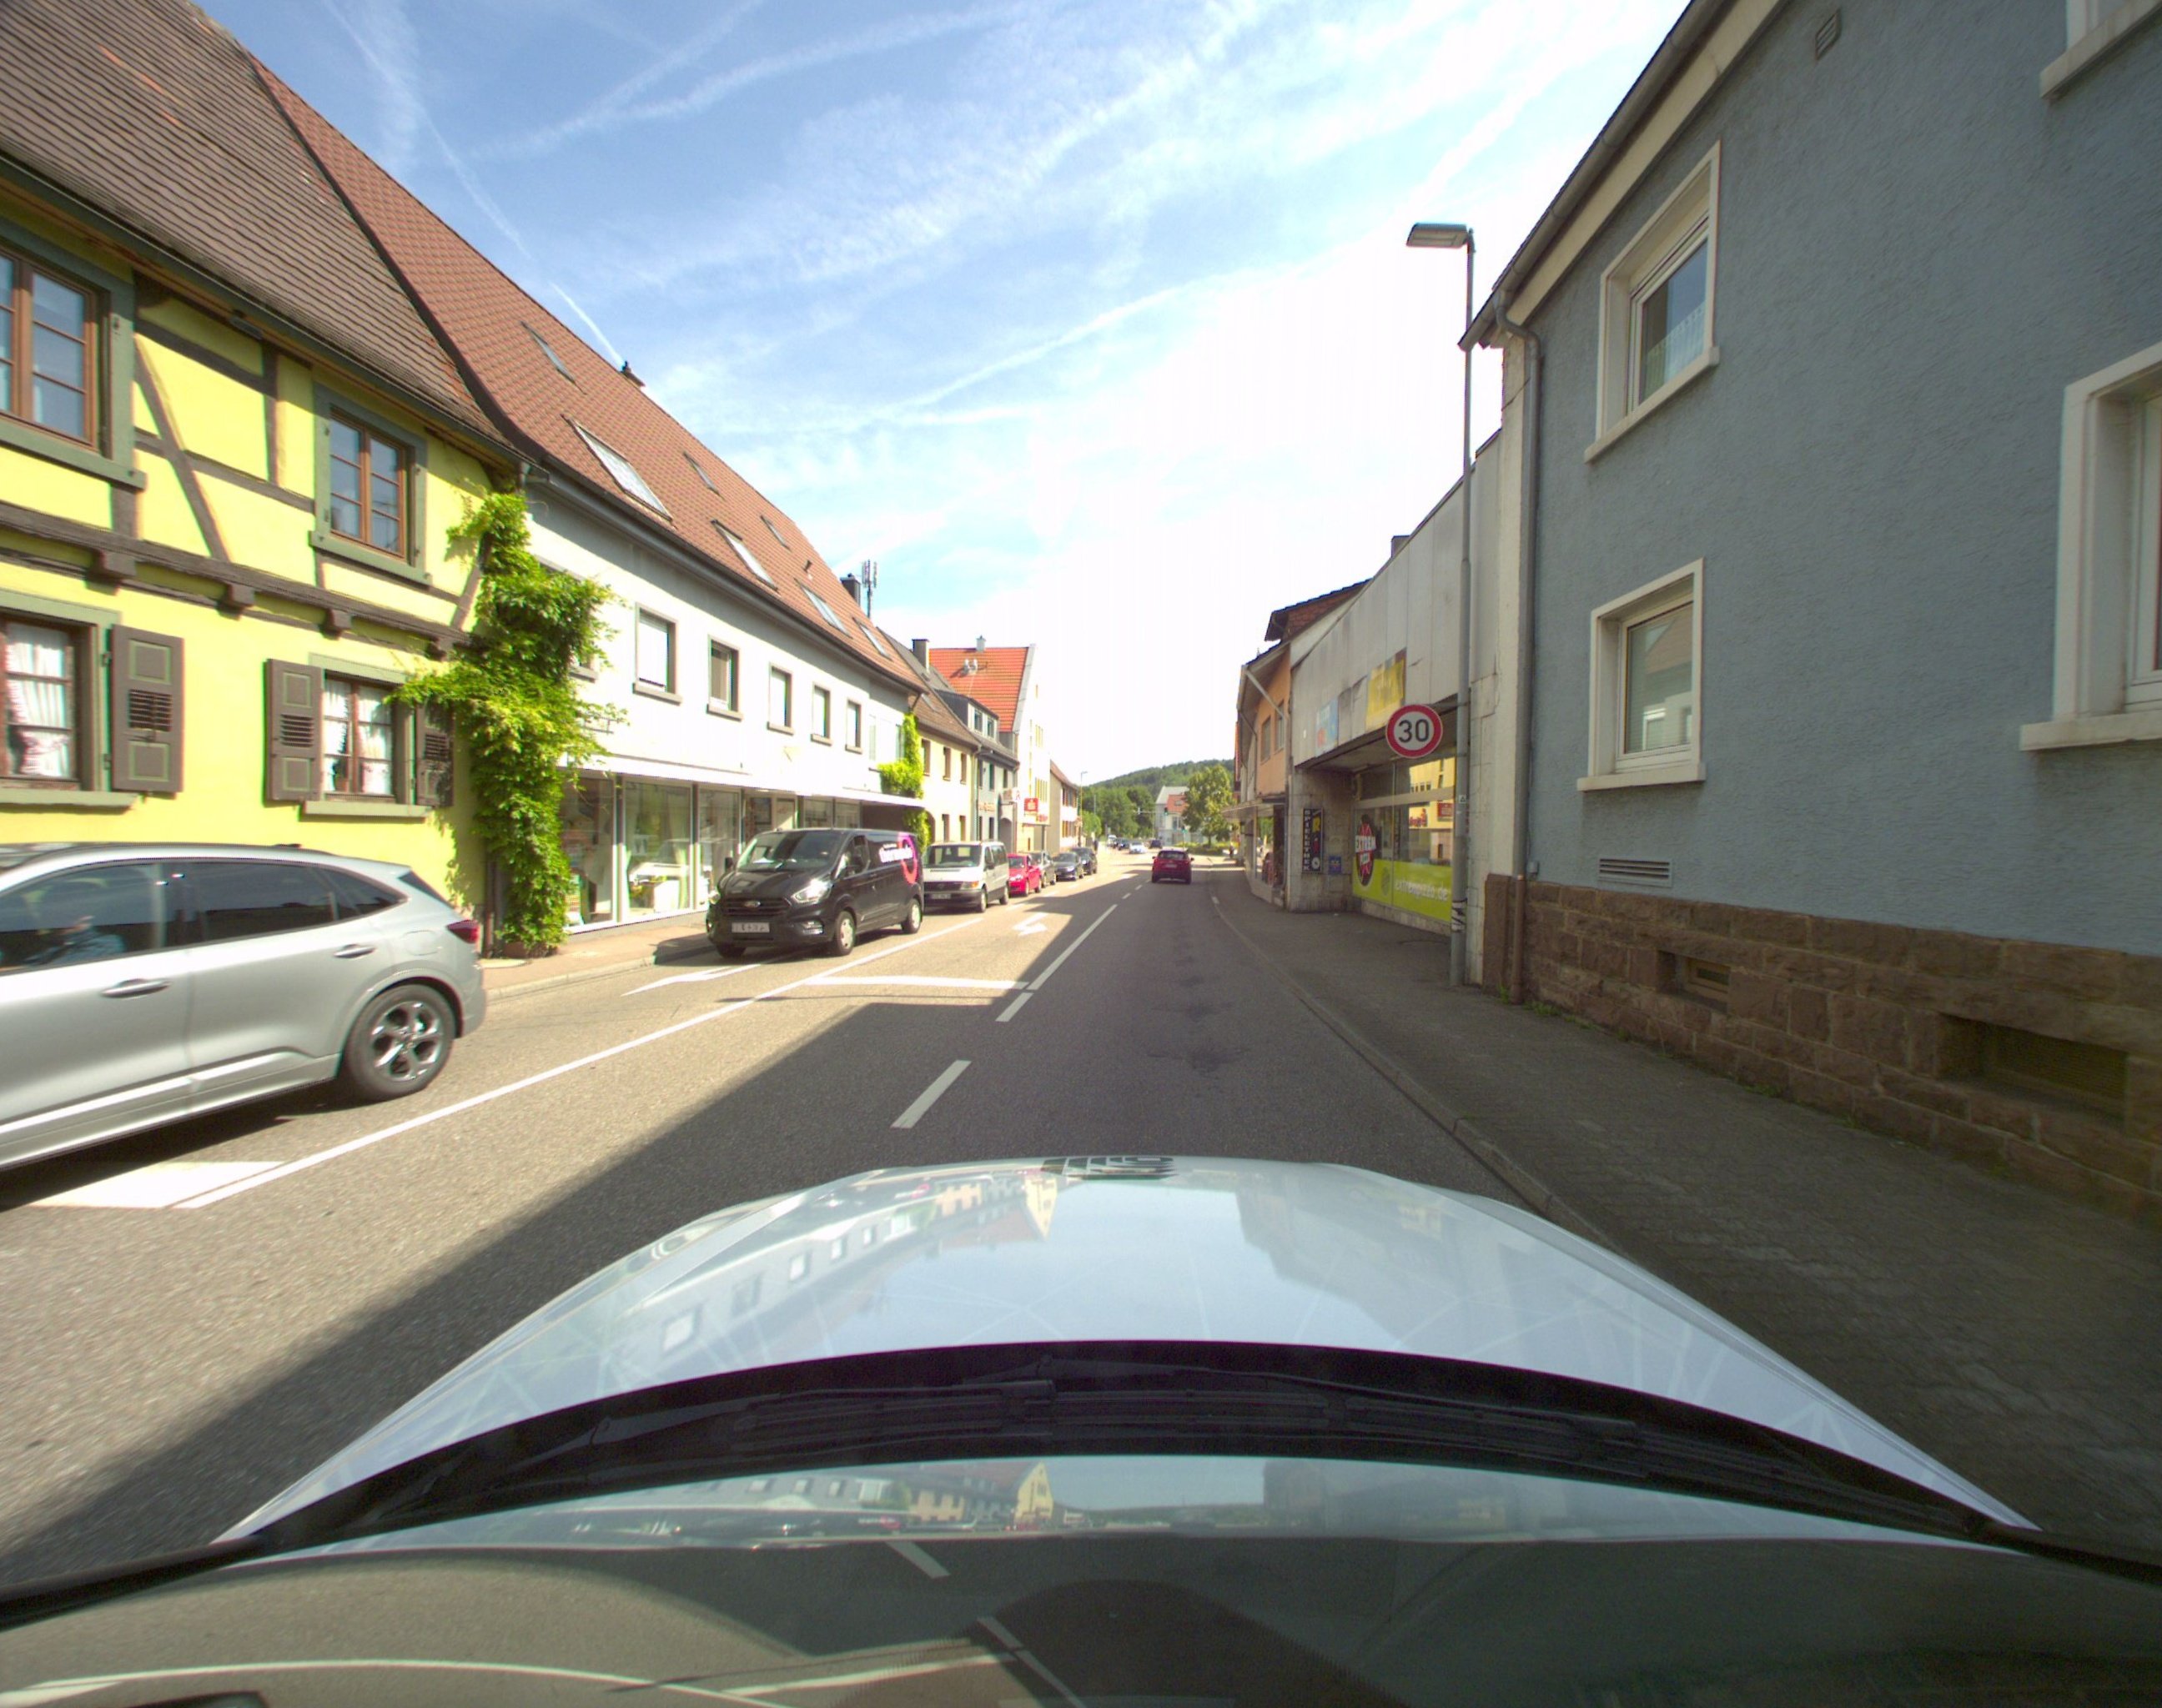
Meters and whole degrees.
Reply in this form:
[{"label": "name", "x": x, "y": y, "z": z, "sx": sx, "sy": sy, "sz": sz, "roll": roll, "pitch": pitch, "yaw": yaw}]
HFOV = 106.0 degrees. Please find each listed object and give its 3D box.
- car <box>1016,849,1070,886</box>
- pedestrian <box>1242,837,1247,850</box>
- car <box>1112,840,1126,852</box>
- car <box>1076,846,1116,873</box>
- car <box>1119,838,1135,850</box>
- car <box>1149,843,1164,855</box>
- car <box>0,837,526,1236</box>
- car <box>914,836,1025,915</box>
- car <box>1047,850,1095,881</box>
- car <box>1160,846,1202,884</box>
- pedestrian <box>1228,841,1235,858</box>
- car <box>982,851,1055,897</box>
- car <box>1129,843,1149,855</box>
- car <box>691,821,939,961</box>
[{"label": "car", "x": -1.591, "y": 0.560, "z": 35.782, "sx": 1.620, "sy": 1.520, "sz": 4.029, "roll": -1, "pitch": 0, "yaw": 8}, {"label": "pedestrian", "x": 23.816, "y": -1.506, "z": 118.508, "sx": 0.639, "sy": 1.879, "sz": 0.653, "roll": 0, "pitch": -1, "yaw": 2}, {"label": "car", "x": 5.928, "y": -1.197, "z": 126.481, "sx": 1.765, "sy": 1.785, "sz": 3.846, "roll": 0, "pitch": -1, "yaw": 7}, {"label": "car", "x": 0.985, "y": 0.311, "z": 49.788, "sx": 1.857, "sy": 1.589, "sz": 4.528, "roll": -1, "pitch": 0, "yaw": 8}, {"label": "car", "x": 6.556, "y": -1.394, "z": 115.128, "sx": 1.828, "sy": 1.532, "sz": 4.264, "roll": 0, "pitch": 2, "yaw": 9}, {"label": "car", "x": 11.516, "y": -0.761, "z": 123.662, "sx": 1.921, "sy": 1.794, "sz": 3.966, "roll": 0, "pitch": -1, "yaw": 9}, {"label": "car", "x": -5.187, "y": 0.742, "z": 3.890, "sx": 1.747, "sy": 1.610, "sz": 4.434, "roll": -1, "pitch": 0, "yaw": 5}, {"label": "car", "x": -2.903, "y": 0.508, "z": 22.199, "sx": 1.873, "sy": 1.890, "sz": 4.560, "roll": -1, "pitch": 0, "yaw": 7}, {"label": "car", "x": -0.460, "y": 0.555, "z": 41.648, "sx": 1.779, "sy": 1.450, "sz": 4.434, "roll": -1, "pitch": 0, "yaw": 8}, {"label": "car", "x": 4.932, "y": 0.484, "z": 39.892, "sx": 1.848, "sy": 1.714, "sz": 4.432, "roll": 2, "pitch": 1, "yaw": 8}, {"label": "pedestrian", "x": 15.490, "y": -0.485, "z": 83.689, "sx": 0.639, "sy": 1.707, "sz": 0.701, "roll": 0, "pitch": -1, "yaw": 3}, {"label": "car", "x": -2.112, "y": 0.654, "z": 28.704, "sx": 1.749, "sy": 1.492, "sz": 4.084, "roll": -1, "pitch": 0, "yaw": 7}, {"label": "car", "x": 7.142, "y": -0.658, "z": 100.322, "sx": 1.976, "sy": 1.444, "sz": 5.114, "roll": 0, "pitch": 0, "yaw": 9}, {"label": "car", "x": -4.149, "y": 0.495, "z": 13.895, "sx": 2.149, "sy": 1.923, "sz": 5.172, "roll": -1, "pitch": 0, "yaw": 5}]
